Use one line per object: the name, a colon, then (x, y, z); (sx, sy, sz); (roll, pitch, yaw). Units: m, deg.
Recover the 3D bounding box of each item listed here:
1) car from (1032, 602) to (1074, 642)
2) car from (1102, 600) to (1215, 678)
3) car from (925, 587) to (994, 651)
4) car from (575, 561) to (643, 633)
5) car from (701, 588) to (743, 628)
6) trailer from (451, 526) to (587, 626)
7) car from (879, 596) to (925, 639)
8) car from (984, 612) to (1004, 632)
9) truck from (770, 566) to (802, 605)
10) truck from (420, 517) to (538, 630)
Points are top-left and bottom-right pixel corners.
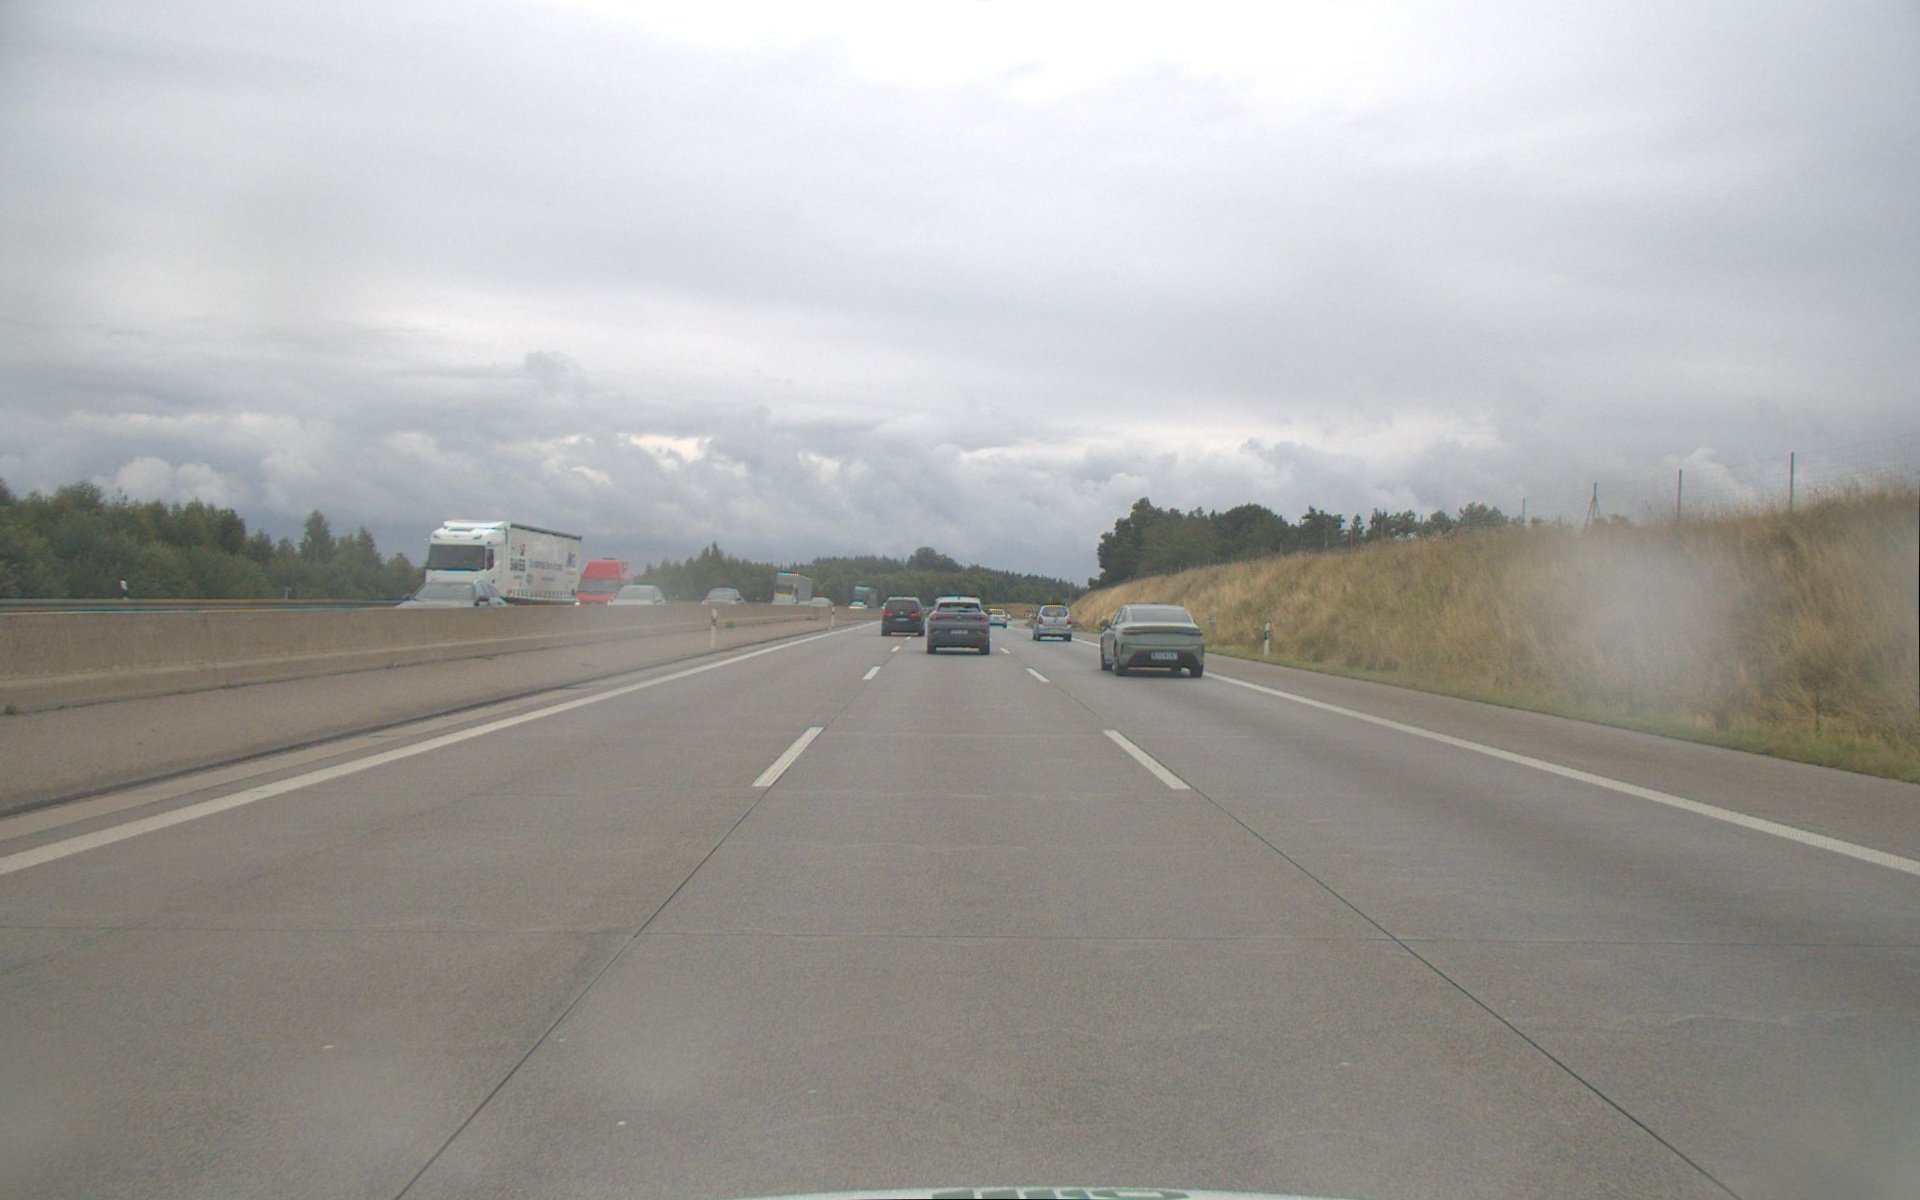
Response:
car: (3.829, 0.894, 68.697); (1.455, 1.496, 3.504); (3, 1, 0)
car: (4.158, 0.785, 35.398); (1.972, 1.471, 4.746); (1, 1, 2)
car: (-0.060, 0.511, 48.833); (1.859, 1.719, 5.264); (1, 1, -2)
car: (-15.441, -0.154, 73.045); (1.764, 3.010, 5.579); (1, 0, 0)
car: (-12.634, 0.389, 87.903); (1.654, 2.049, 4.836); (1, 1, -2)
trailer: (-19.689, -1.077, 74.801); (2.829, 4.072, 13.012); (1, 1, -1)
car: (-2.558, 0.754, 73.463); (1.748, 1.777, 3.916); (1, 1, 2)
car: (2.744, 1.773, 133.805); (1.455, 1.496, 3.504); (3, 1, 0)
truck: (-19.006, -1.598, 180.754); (2.872, 4.253, 5.856); (1, 1, -1)
truck: (-19.572, -1.074, 67.805); (2.825, 4.365, 7.135); (1, 1, -1)
